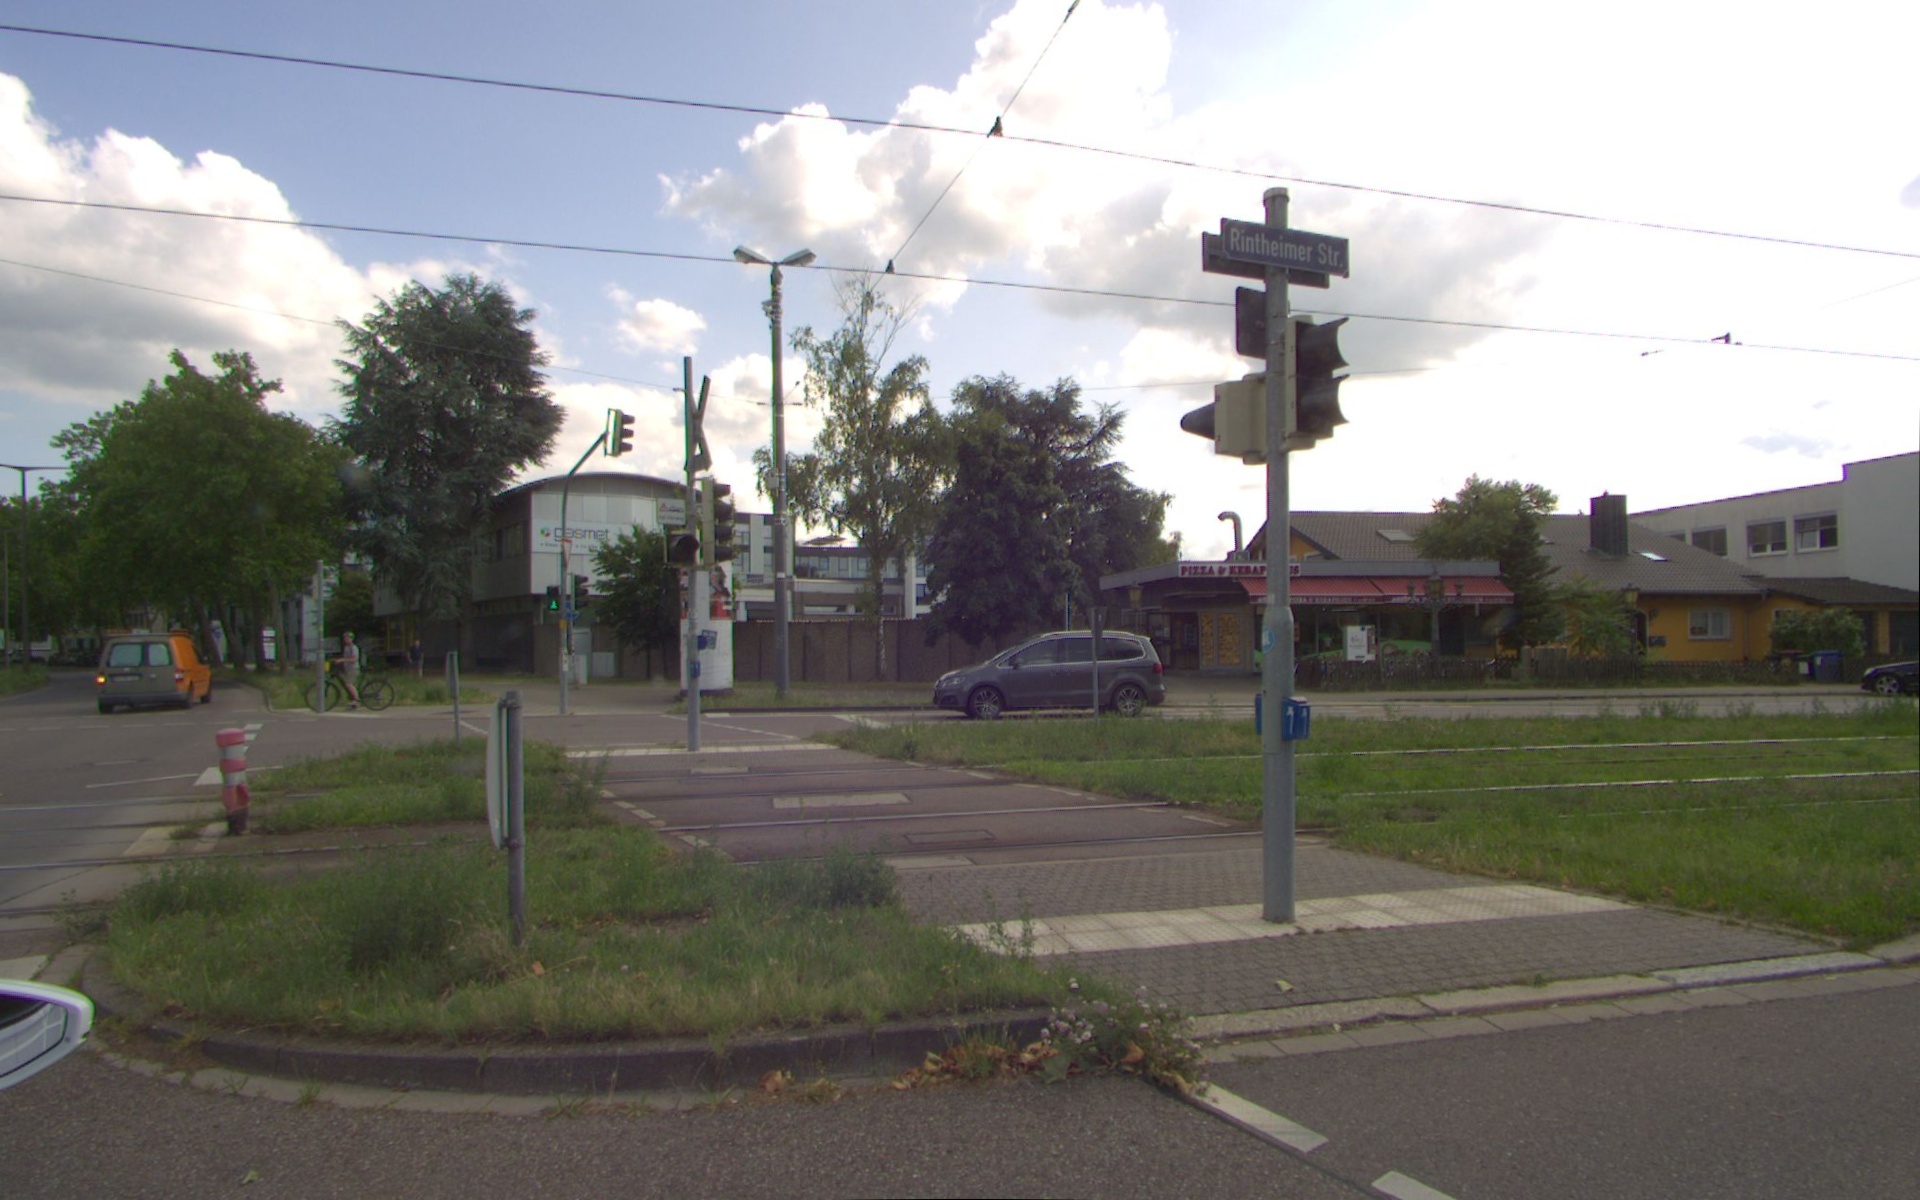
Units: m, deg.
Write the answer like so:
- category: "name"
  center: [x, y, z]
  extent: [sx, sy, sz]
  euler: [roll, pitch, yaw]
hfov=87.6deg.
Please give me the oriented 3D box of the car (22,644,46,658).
- category: "car"
  center: [-118.965, 6.549, 128.648]
  extent: [3.956, 1.594, 1.983]
  euler: [0, 0, 43]

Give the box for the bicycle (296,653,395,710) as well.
- category: "bicycle"
  center: [-14.231, 1.866, 23.246]
  extent: [1.922, 1.252, 0.538]
  euler: [1, 0, -27]

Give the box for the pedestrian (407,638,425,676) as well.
- category: "pedestrian"
  center: [-23.433, 2.450, 43.122]
  extent: [0.615, 1.590, 0.555]
  euler: [0, 0, -36]

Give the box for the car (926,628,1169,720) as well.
- category: "car"
  center: [1.716, 1.478, 20.560]
  extent: [4.650, 1.743, 2.000]
  euler: [0, -2, -8]

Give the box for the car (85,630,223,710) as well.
- category: "car"
  center: [-20.223, 1.708, 25.336]
  extent: [1.856, 1.822, 4.353]
  euler: [1, -2, -27]

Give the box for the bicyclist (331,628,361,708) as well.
- category: "bicyclist"
  center: [-14.238, 1.562, 23.233]
  extent: [0.536, 1.833, 0.538]
  euler: [0, 0, -26]

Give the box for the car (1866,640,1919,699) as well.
- category: "car"
  center: [27.641, 1.857, 26.828]
  extent: [1.970, 1.599, 4.562]
  euler: [1, -3, -28]

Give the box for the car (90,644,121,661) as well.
- category: "car"
  center: [-88.291, 5.417, 103.482]
  extent: [3.956, 1.594, 1.983]
  euler: [0, 0, 43]
